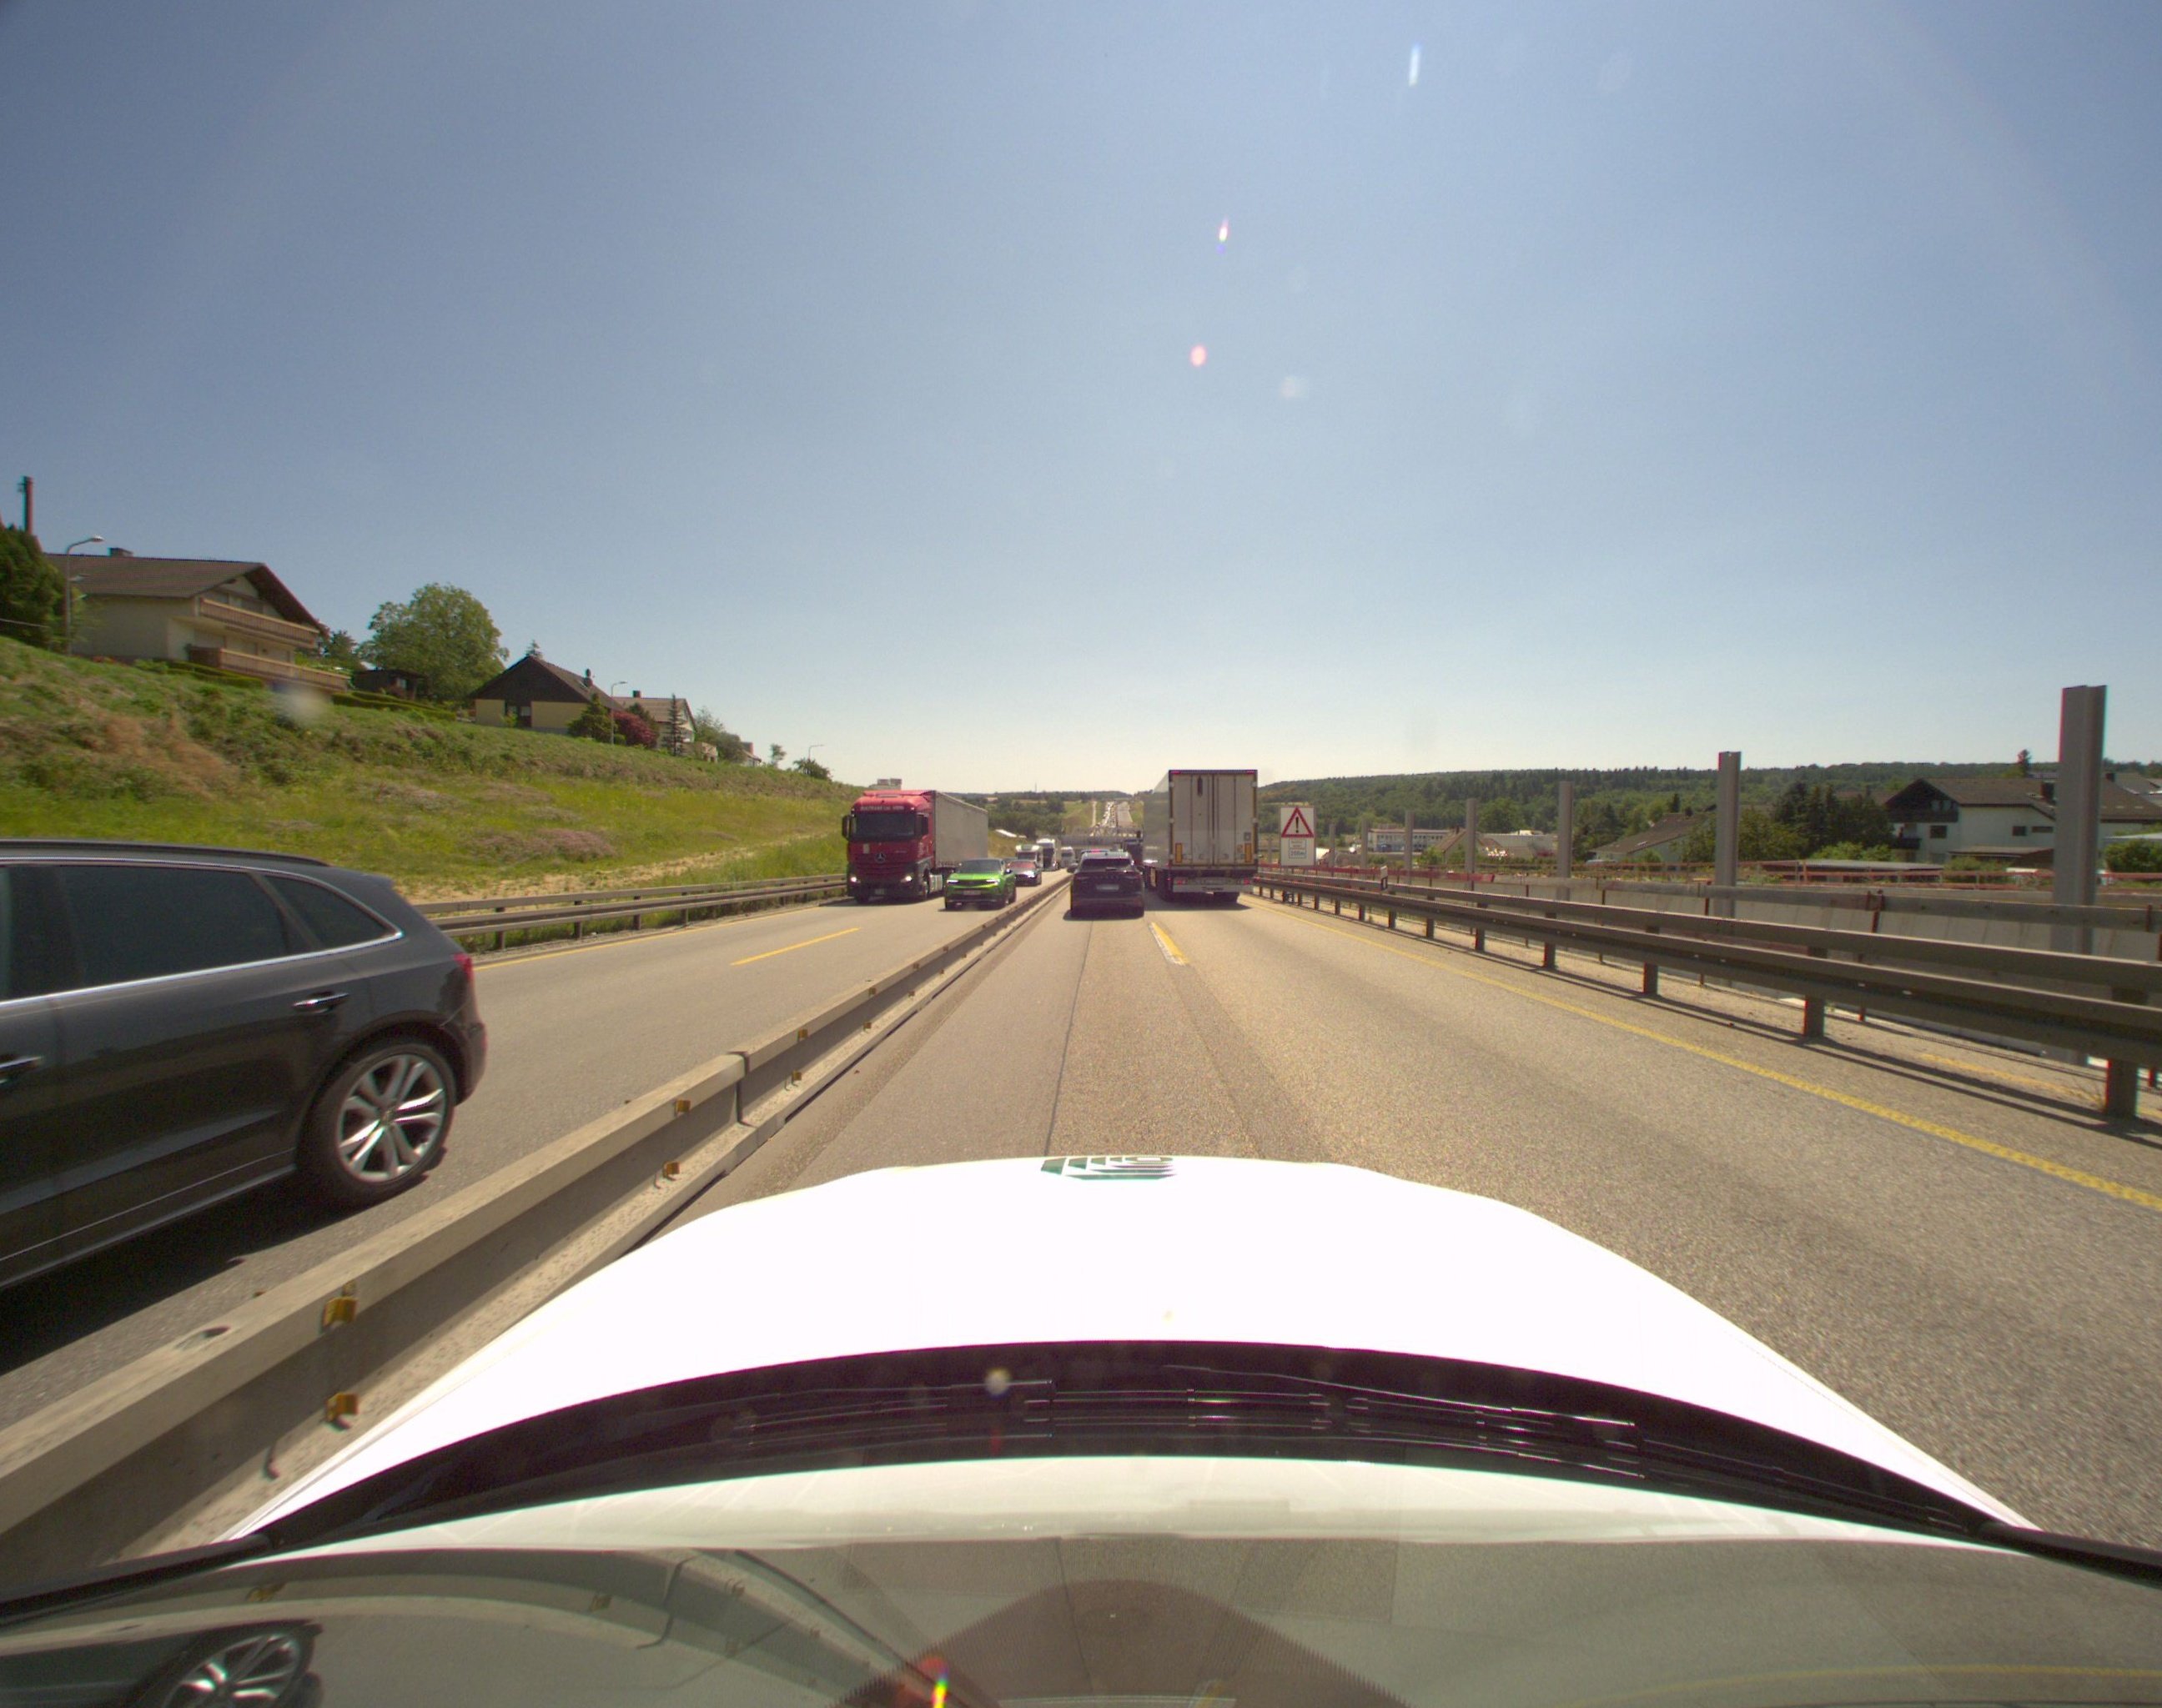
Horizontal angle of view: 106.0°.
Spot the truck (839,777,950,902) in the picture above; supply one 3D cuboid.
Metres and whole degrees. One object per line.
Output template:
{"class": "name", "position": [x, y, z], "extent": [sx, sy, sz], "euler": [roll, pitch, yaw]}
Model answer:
{"class": "truck", "position": [-6.527, -0.471, 29.169], "extent": [2.811, 4.124, 4.599], "euler": [0, 0, 1]}

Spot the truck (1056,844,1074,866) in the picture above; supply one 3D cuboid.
{"class": "truck", "position": [-3.065, 0.186, 157.746], "extent": [3.227, 4.160, 4.248], "euler": [-1, -1, 1]}

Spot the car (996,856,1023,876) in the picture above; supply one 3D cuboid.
{"class": "car", "position": [-5.797, 0.984, 66.301], "extent": [1.710, 1.552, 4.265], "euler": [-1, 0, 1]}

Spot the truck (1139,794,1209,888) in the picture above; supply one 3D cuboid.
{"class": "truck", "position": [4.197, -0.526, 37.627], "extent": [2.766, 4.059, 4.905], "euler": [-1, -1, 1]}

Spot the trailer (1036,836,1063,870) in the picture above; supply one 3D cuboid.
{"class": "trailer", "position": [-4.055, -0.126, 109.179], "extent": [2.800, 4.287, 14.037], "euler": [0, 0, 1]}

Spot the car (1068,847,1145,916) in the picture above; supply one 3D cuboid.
{"class": "car", "position": [0.650, 0.660, 20.796], "extent": [1.794, 1.620, 3.299], "euler": [0, 0, 2]}

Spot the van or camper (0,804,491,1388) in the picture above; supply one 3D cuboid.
{"class": "van or camper", "position": [-4.007, 0.699, 2.257], "extent": [1.821, 1.668, 3.890], "euler": [0, 0, 2]}

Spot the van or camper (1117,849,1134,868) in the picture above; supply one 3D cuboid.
{"class": "van or camper", "position": [5.407, 0.522, 99.009], "extent": [1.986, 2.244, 4.002], "euler": [1, 0, 2]}

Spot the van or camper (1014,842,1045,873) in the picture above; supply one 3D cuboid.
{"class": "van or camper", "position": [-4.962, 0.330, 79.347], "extent": [2.326, 2.777, 7.518], "euler": [-1, 0, 1]}

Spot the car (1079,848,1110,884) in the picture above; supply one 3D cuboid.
{"class": "car", "position": [0.722, 0.617, 42.203], "extent": [1.469, 1.795, 3.300], "euler": [0, 0, 3]}

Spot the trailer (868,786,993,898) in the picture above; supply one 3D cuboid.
{"class": "trailer", "position": [-6.316, -0.440, 37.017], "extent": [2.846, 4.124, 13.440], "euler": [0, 0, 1]}

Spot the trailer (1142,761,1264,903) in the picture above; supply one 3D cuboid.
{"class": "trailer", "position": [4.028, -0.517, 30.502], "extent": [2.791, 4.058, 14.120], "euler": [-1, -1, 2]}

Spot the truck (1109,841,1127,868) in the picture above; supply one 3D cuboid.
{"class": "truck", "position": [5.783, 0.092, 128.489], "extent": [2.509, 3.959, 7.601], "euler": [1, 0, 1]}

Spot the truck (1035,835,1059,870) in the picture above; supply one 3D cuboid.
{"class": "truck", "position": [-4.201, -0.144, 101.625], "extent": [2.764, 4.287, 4.677], "euler": [0, -1, 1]}

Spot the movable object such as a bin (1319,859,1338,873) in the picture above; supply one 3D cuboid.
{"class": "movable object such as a bin", "position": [41.061, 1.990, 135.318], "extent": [1.986, 2.239, 4.154], "euler": [0, -1, 2]}

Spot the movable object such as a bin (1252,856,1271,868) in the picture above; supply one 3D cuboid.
{"class": "movable object such as a bin", "position": [43.430, 1.926, 195.970], "extent": [2.876, 2.909, 9.484], "euler": [0, -1, 2]}

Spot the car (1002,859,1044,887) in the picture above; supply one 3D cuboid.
{"class": "car", "position": [-3.024, 0.977, 43.103], "extent": [1.761, 1.363, 4.412], "euler": [-1, 0, 1]}

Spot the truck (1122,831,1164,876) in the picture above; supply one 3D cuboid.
{"class": "truck", "position": [4.701, 0.047, 63.938], "extent": [2.803, 3.135, 12.844], "euler": [-1, -1, 2]}

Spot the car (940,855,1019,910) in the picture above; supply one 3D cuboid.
{"class": "car", "position": [-3.007, 0.809, 24.860], "extent": [1.747, 1.508, 4.001], "euler": [1, 0, 2]}

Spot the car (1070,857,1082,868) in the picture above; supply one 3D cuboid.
{"class": "car", "position": [-0.645, 1.189, 113.004], "extent": [1.623, 1.479, 3.380], "euler": [0, 0, 1]}
